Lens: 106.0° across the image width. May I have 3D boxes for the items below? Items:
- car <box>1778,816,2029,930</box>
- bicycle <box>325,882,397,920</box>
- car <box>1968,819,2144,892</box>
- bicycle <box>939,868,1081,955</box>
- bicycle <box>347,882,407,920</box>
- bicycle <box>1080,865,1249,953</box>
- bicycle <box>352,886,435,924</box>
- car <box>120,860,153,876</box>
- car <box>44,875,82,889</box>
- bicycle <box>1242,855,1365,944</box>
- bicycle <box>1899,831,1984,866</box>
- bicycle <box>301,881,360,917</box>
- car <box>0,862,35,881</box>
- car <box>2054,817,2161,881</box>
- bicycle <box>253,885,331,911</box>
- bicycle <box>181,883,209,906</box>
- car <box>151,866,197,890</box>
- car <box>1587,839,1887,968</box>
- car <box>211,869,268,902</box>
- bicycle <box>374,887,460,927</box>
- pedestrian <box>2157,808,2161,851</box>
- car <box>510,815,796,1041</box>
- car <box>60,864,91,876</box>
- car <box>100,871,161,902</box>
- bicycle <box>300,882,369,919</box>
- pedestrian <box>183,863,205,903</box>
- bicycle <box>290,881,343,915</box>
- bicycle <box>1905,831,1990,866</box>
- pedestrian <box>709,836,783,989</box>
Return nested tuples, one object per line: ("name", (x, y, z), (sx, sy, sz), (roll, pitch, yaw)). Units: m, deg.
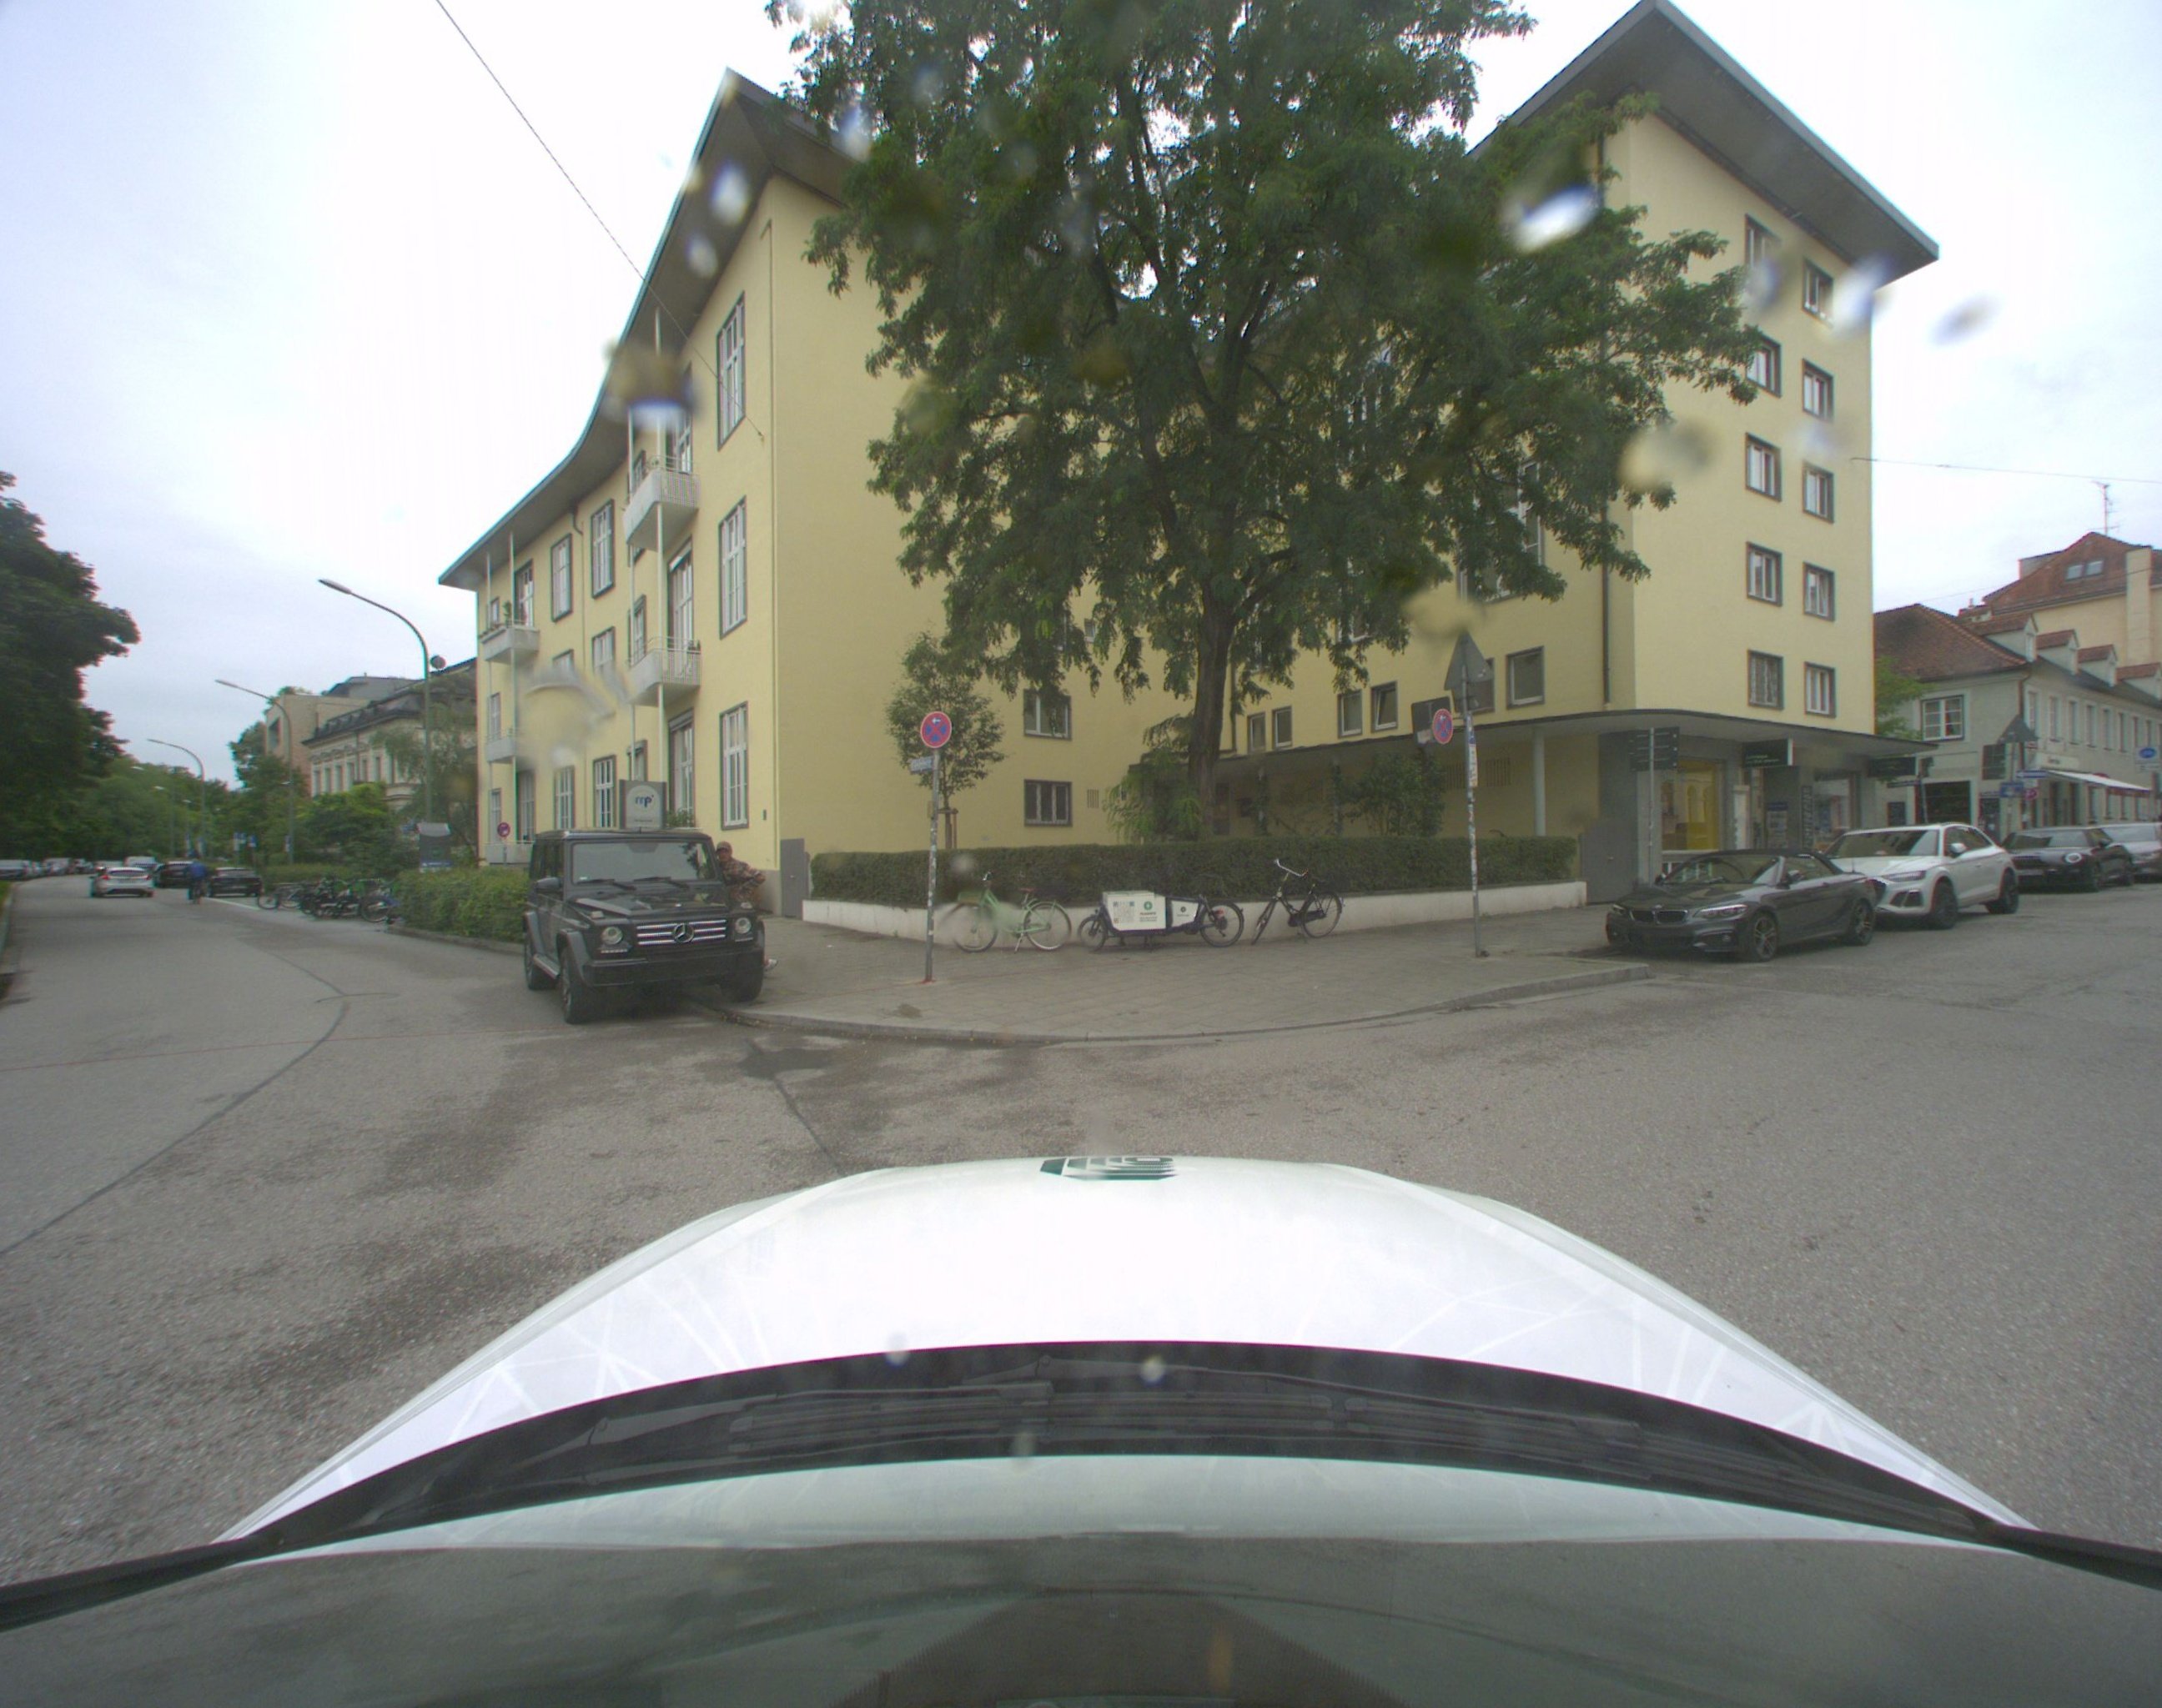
("car", (14.116, 0.261, 13.946), (4.349, 1.584, 1.792), (-3, 0, -28))
("bicycle", (-21.806, 1.411, 24.687), (0.473, 1.065, 1.620), (-1, -1, 16))
("car", (22.239, 0.006, 18.560), (4.106, 1.471, 1.669), (-2, -1, -27))
("bicycle", (-1.029, 0.820, 11.790), (1.929, 1.156, 0.586), (-2, 2, 21))
("bicycle", (-21.063, 1.398, 24.407), (0.381, 1.065, 1.613), (0, -1, 0))
("bicycle", (1.145, 0.753, 11.422), (2.285, 1.126, 0.583), (-1, 2, -4))
("bicycle", (-19.419, 1.417, 23.030), (0.359, 0.984, 1.764), (-1, -1, 35))
("car", (-85.120, 1.240, 73.354), (3.812, 1.390, 1.766), (-1, -1, 38))
("car", (-106.902, 2.888, 85.562), (1.935, 1.390, 3.815), (0, -1, -43))
("bicycle", (3.331, 0.649, 12.150), (1.857, 1.210, 0.559), (-1, 1, -25))
("bicycle", (27.065, -0.190, 25.641), (0.392, 1.034, 1.809), (-2, 3, -24))
("bicycle", (-23.799, 1.421, 25.868), (0.389, 1.065, 1.612), (0, -1, -1))
("car", (-82.451, 1.324, 62.917), (3.922, 1.390, 1.758), (-1, -1, 41))
("car", (26.502, -0.170, 20.554), (4.966, 1.471, 1.668), (-2, -1, -31))
("bicycle", (-29.835, 1.646, 30.818), (0.540, 0.908, 2.049), (-1, -1, 35))
("bicycle", (-36.185, 1.649, 33.251), (1.610, 0.908, 0.486), (-1, -1, 33))
("car", (-57.238, 1.472, 51.401), (3.744, 1.420, 1.639), (-1, -1, 37))
("car", (9.169, 0.589, 11.348), (4.108, 1.411, 1.735), (-2, -1, -28))
("car", (-41.586, 1.527, 40.217), (3.948, 1.528, 1.670), (-1, -1, 40))
("bicycle", (-17.981, 1.414, 22.093), (0.435, 0.984, 1.764), (-1, -1, 34))
("pedestrian", (48.875, -1.103, 36.380), (0.830, 1.898, 0.817), (0, -1, -29))
("car", (-5.169, 0.675, 9.512), (1.946, 2.001, 4.367), (0, -1, -42))
("car", (-116.085, 1.816, 94.059), (3.814, 1.390, 1.935), (-1, -1, 44))
("car", (-46.388, 1.534, 39.742), (3.812, 1.390, 1.766), (-1, -1, 38))
("bicycle", (-22.917, 1.417, 25.031), (0.473, 1.065, 1.617), (0, -1, 9))
("pedestrian", (-36.234, 1.184, 33.276), (0.749, 1.629, 0.475), (-1, -1, 33))
("bicycle", (-25.135, 1.431, 26.802), (0.390, 1.065, 1.610), (0, -1, -6))
("bicycle", (27.430, -0.191, 25.816), (0.392, 1.034, 1.809), (-2, 3, -24))
("pedestrian", (-4.126, 0.693, 10.071), (0.638, 1.798, 0.559), (-3, 1, -10))
